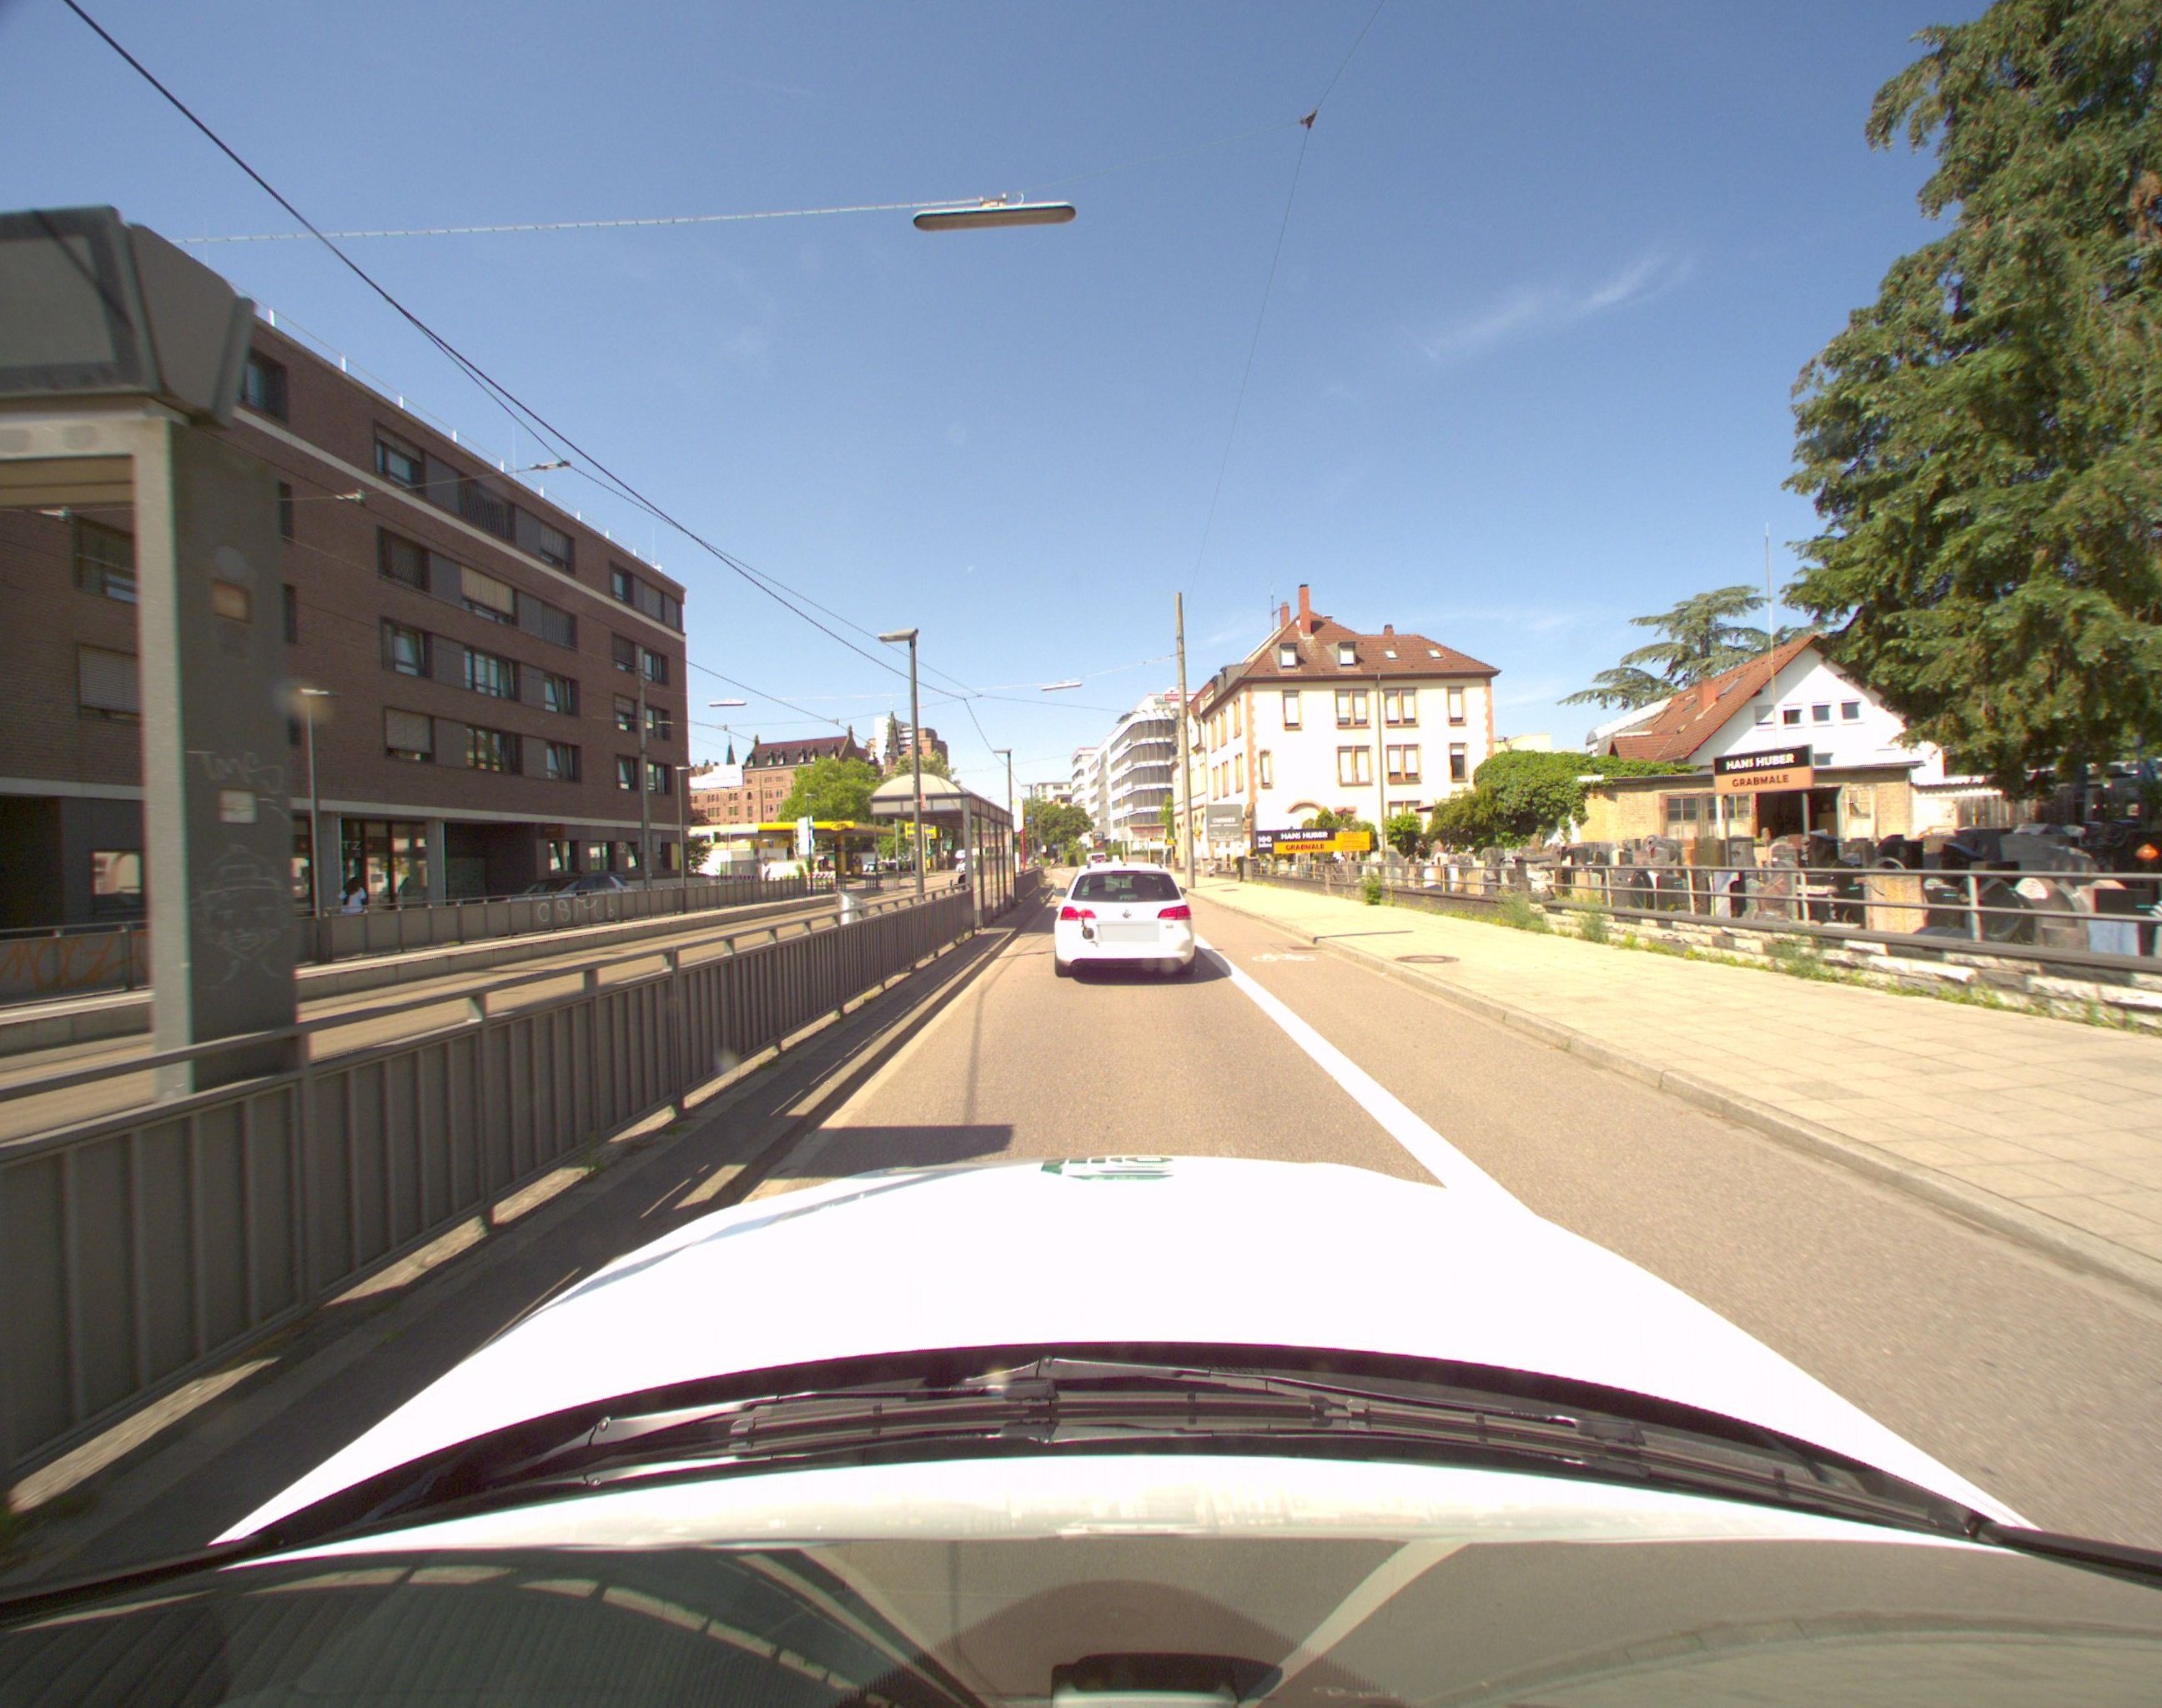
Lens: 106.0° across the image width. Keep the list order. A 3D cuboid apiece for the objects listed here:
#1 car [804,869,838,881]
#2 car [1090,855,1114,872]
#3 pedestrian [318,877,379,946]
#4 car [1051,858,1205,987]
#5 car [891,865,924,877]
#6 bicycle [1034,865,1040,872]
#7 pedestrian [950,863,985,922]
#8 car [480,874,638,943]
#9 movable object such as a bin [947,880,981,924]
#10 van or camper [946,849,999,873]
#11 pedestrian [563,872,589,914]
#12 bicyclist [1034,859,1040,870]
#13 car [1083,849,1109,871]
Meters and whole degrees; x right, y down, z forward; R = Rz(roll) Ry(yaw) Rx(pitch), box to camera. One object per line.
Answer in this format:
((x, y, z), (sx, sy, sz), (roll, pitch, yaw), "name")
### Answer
((-35.948, 2.876, 112.512), (4.123, 1.527, 1.947), (-2, -1, 19), "car")
((2.013, 0.902, 78.493), (1.719, 1.443, 4.303), (-4, 0, -6), "car")
((-20.192, 1.565, 22.464), (0.841, 1.819, 0.839), (-2, -1, 1), "pedestrian")
((0.548, 0.787, 11.500), (1.748, 1.442, 4.412), (0, 0, 0), "car")
((-25.580, 2.503, 120.048), (1.924, 1.625, 4.608), (-3, -1, 38), "car")
((-6.558, 2.132, 121.537), (0.810, 1.078, 2.008), (-2, -1, -6), "bicycle")
((-2.517, 0.852, 18.118), (0.627, 1.255, 0.709), (-3, -1, 0), "pedestrian")
((-15.036, 1.500, 23.763), (1.794, 1.729, 4.190), (-1, 0, 2), "car")
((-2.512, 1.022, 17.521), (0.627, 0.900, 0.489), (-3, -1, 0), "movable object such as a bin")
((-13.823, 0.868, 103.689), (6.626, 2.967, 2.633), (0, -1, 34), "van or camper")
((-20.639, 1.599, 33.302), (0.579, 1.664, 0.699), (-2, -1, 0), "pedestrian")
((-6.558, 1.534, 121.544), (0.785, 1.629, 0.736), (0, -1, -6), "bicyclist")
((1.527, 0.627, 84.482), (1.974, 2.054, 5.180), (-4, 0, -6), "car")
